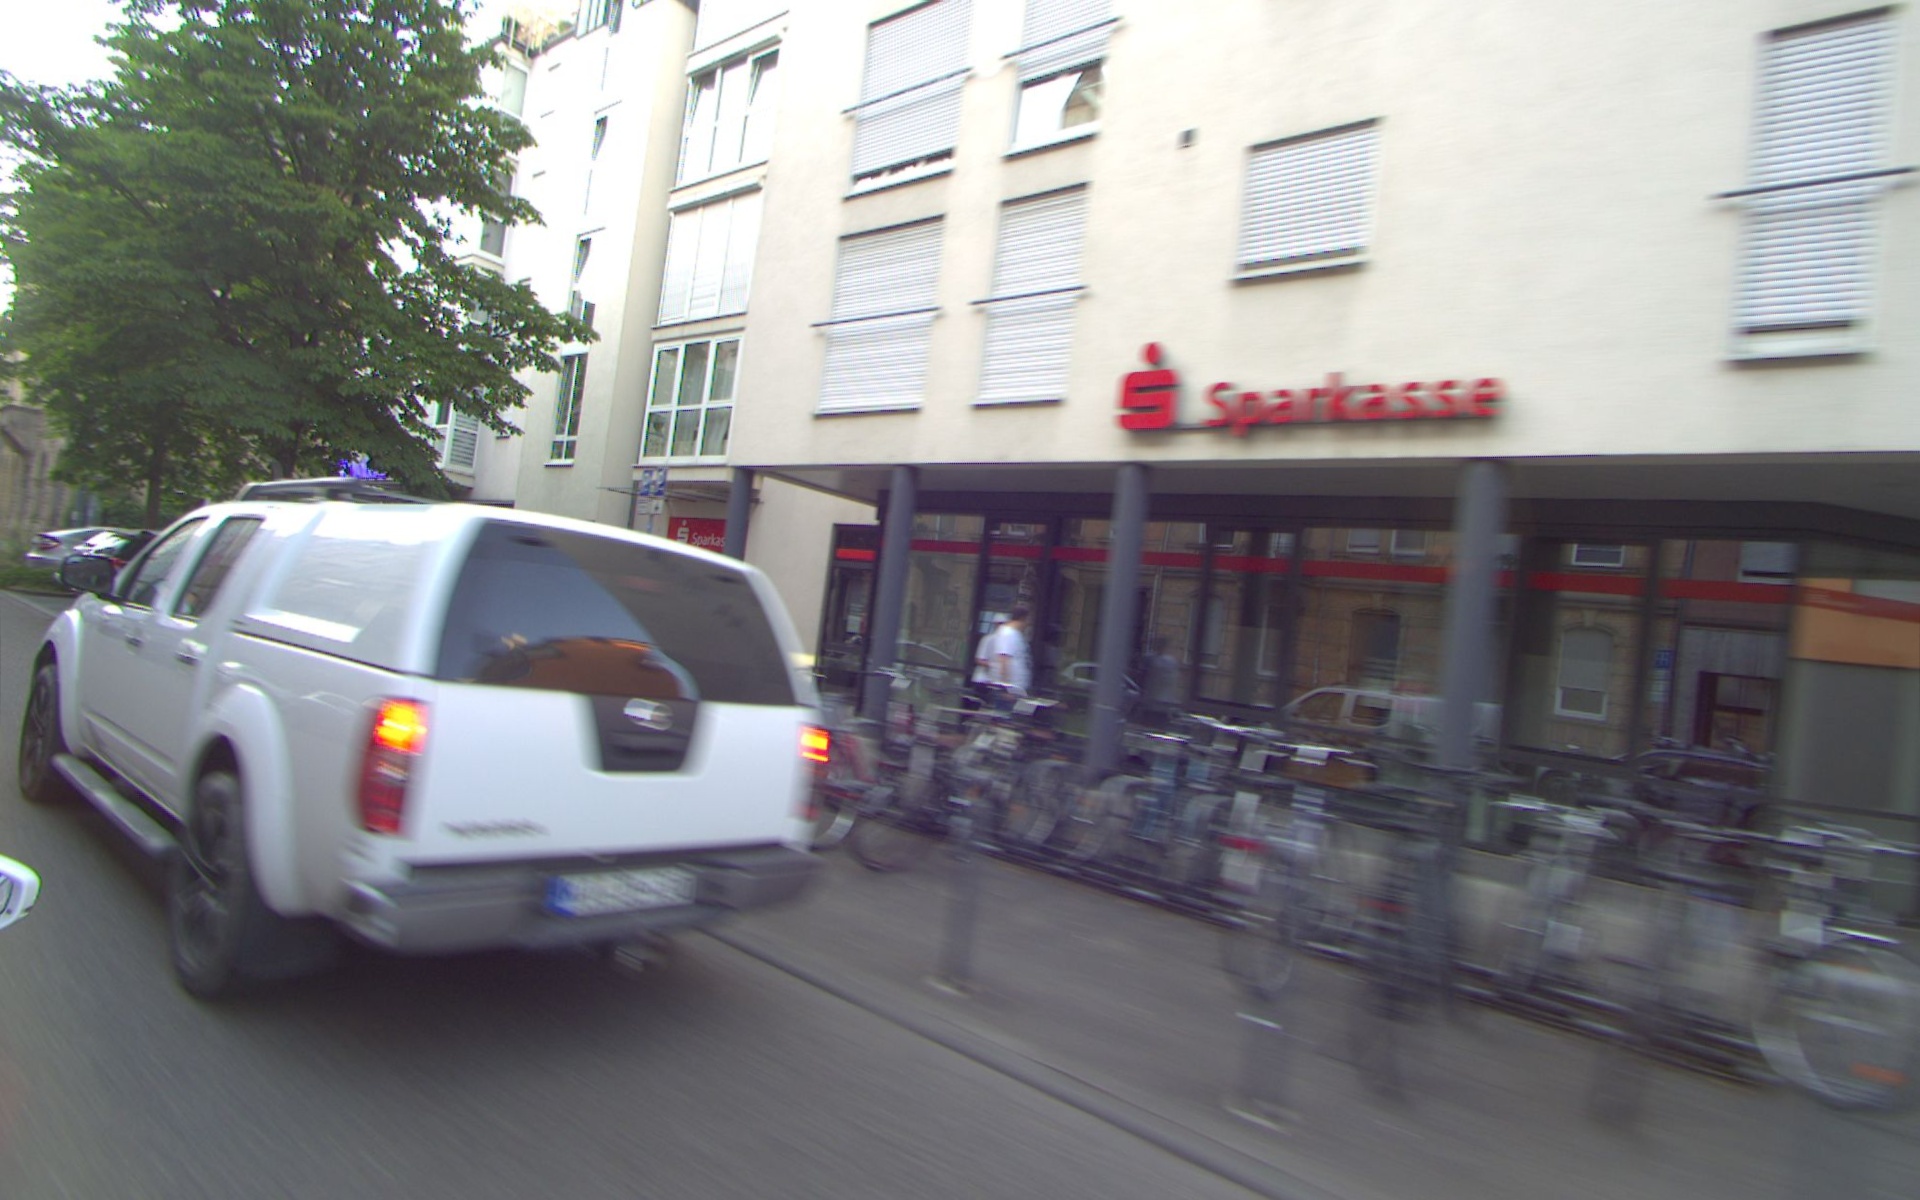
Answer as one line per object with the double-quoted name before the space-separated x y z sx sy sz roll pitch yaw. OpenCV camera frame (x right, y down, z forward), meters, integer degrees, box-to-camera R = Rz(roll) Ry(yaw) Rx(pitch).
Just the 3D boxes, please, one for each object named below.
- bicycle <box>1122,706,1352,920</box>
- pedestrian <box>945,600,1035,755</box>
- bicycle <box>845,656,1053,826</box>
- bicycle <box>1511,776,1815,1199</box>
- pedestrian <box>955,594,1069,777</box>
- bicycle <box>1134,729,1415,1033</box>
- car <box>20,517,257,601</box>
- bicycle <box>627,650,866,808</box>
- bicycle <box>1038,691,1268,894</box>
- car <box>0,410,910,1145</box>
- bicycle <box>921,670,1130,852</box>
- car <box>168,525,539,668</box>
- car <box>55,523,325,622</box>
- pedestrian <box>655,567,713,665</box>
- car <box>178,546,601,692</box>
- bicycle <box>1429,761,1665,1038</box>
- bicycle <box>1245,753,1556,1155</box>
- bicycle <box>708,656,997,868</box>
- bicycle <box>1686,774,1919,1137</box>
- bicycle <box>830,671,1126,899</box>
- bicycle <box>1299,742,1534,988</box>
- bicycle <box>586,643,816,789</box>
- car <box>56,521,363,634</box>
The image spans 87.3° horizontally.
"bicycle" 1.853 1.307 6.560 0.645 1.131 1.719 6 -1 42
"pedestrian" 0.370 0.923 12.120 0.651 1.744 0.664 8 1 26
"bicycle" -0.034 1.067 7.930 0.644 1.131 1.722 6 -1 36
"bicycle" 2.859 1.364 4.007 0.697 1.131 1.719 6 -1 42
"pedestrian" 0.561 0.866 10.575 0.896 1.745 0.776 7 1 10
"bicycle" 1.674 1.292 5.130 0.696 1.131 1.808 6 -1 38
"car" -19.439 -0.939 23.926 1.856 1.471 4.079 6 0 41
"bicycle" -1.624 0.960 7.885 0.658 1.044 1.715 5 1 42
"bicycle" 1.359 1.242 6.838 0.645 1.131 1.719 6 -1 42
"car" -2.899 0.376 4.956 5.194 1.874 1.911 5 -3 39
"bicycle" 0.540 1.146 7.515 0.644 1.131 1.722 6 -1 36
"car" -8.980 0.036 15.245 1.721 1.668 4.395 6 -1 39
"car" -14.886 -0.484 19.637 1.708 1.471 3.794 6 0 34
"pedestrian" -5.298 0.318 19.329 0.577 1.772 0.627 6 -3 28
"car" -7.181 0.343 13.171 1.751 1.473 4.426 6 -1 33
"bicycle" 3.139 1.459 5.294 0.645 1.066 1.719 6 -1 42
"bicycle" 1.893 1.285 4.162 0.696 1.131 1.722 6 -1 38
"bicycle" -0.682 1.031 6.905 0.733 1.197 1.863 5 1 44
"bicycle" 3.893 1.487 4.618 0.569 1.145 1.726 6 -1 28
"bicycle" 0.159 1.100 6.417 1.779 1.197 0.726 4 1 -40
"bicycle" 2.656 1.409 5.747 0.645 1.066 1.719 6 -1 42
"bicycle" -2.081 0.917 8.288 0.557 1.035 1.768 5 1 42
"car" -13.285 -0.346 18.009 1.800 1.473 3.987 6 -1 37
